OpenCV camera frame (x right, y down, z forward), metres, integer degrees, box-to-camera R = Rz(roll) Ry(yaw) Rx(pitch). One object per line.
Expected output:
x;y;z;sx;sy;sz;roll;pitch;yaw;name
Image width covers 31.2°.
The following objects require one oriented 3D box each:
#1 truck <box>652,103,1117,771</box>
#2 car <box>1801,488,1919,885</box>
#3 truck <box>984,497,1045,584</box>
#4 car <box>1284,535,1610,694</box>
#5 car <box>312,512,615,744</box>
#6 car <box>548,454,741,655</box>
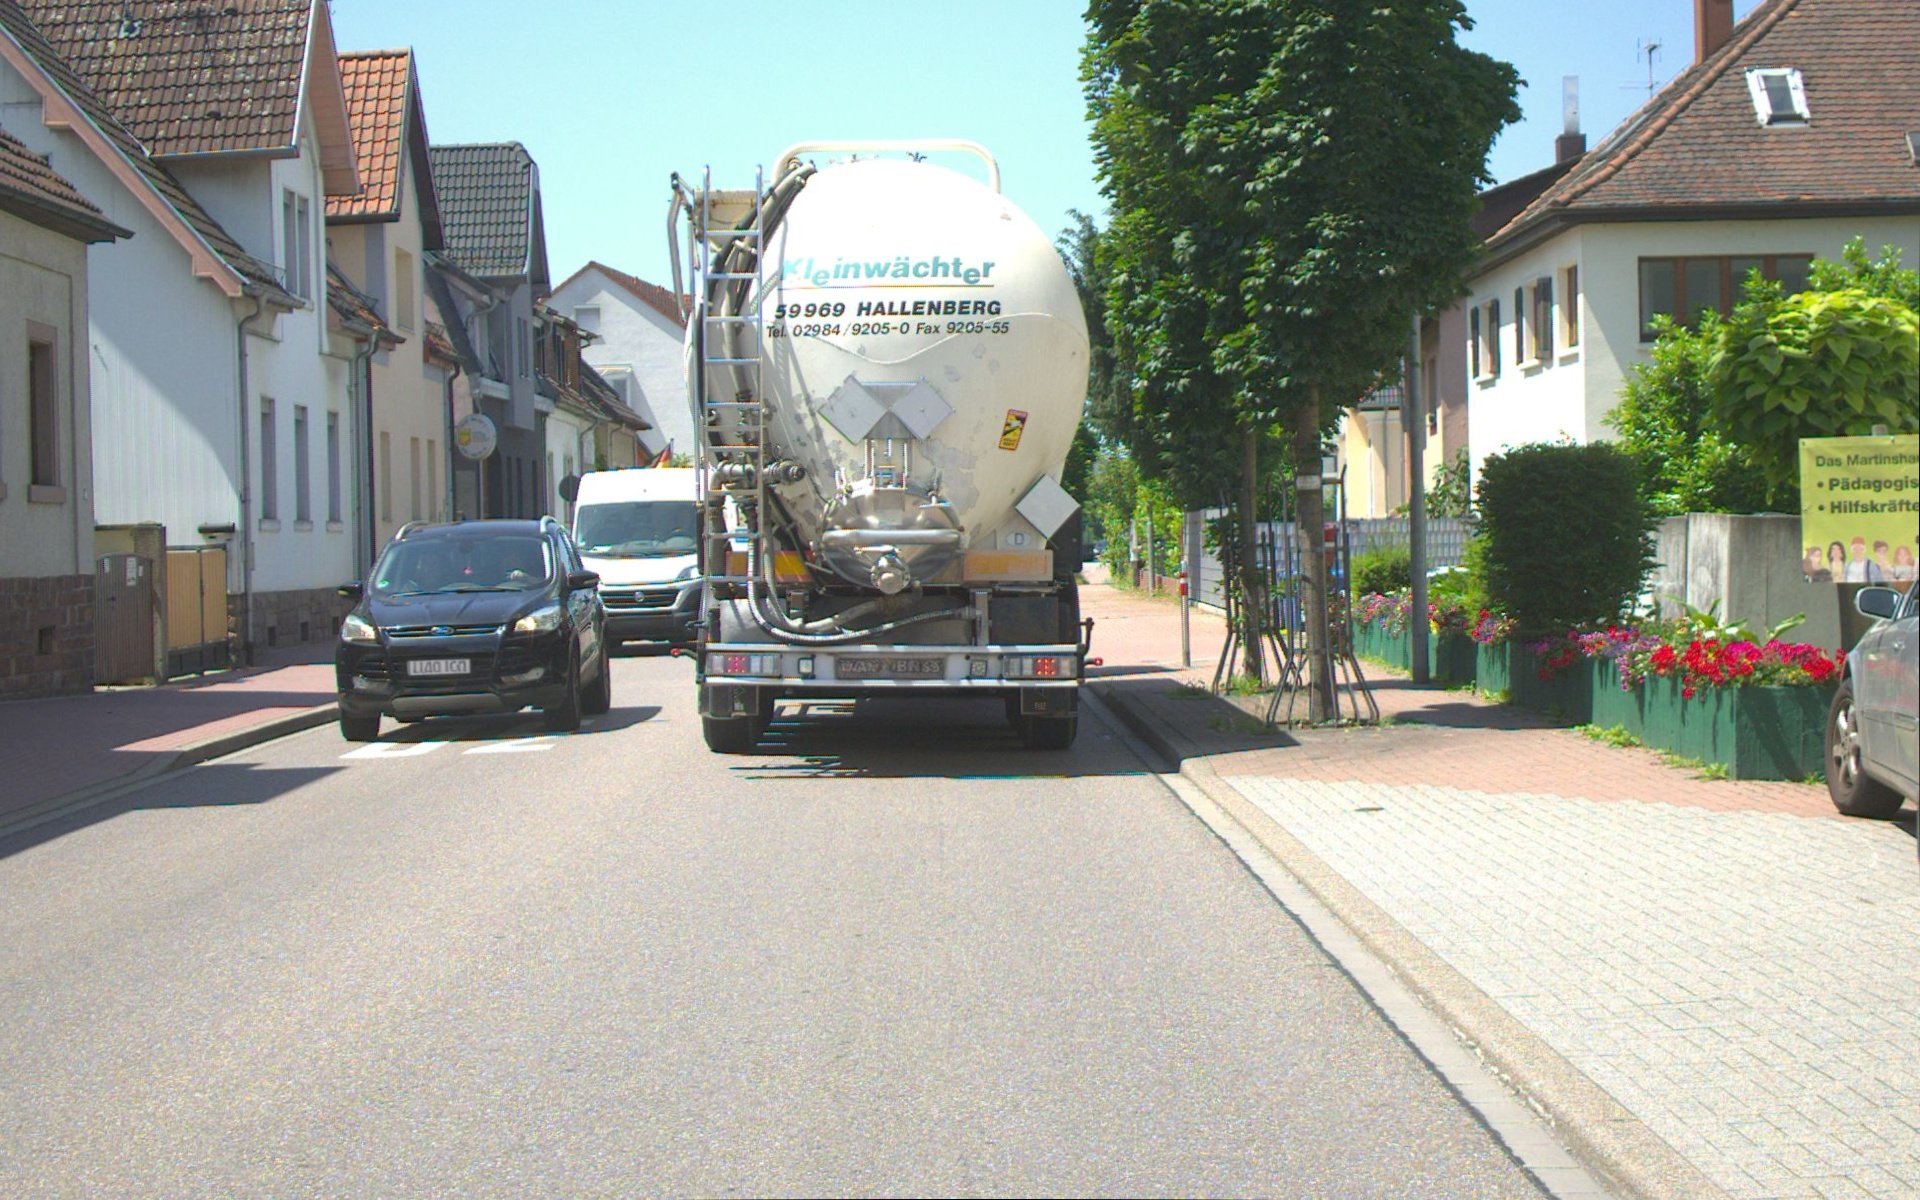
-0.551;-1.002;24.530;2.732;3.946;8.142;1;0;-1;truck
4.679;0.337;14.080;1.815;1.457;4.883;4;2;8;car
2.091;-2.250;129.532;1.994;3.126;9.448;1;1;2;truck
6.874;0.190;48.849;4.170;1.581;1.907;9;1;0;car
-3.911;0.164;27.751;1.839;1.664;4.324;-2;1;-1;car
-4.145;-0.630;46.105;2.069;2.446;6.008;-2;1;-1;car
